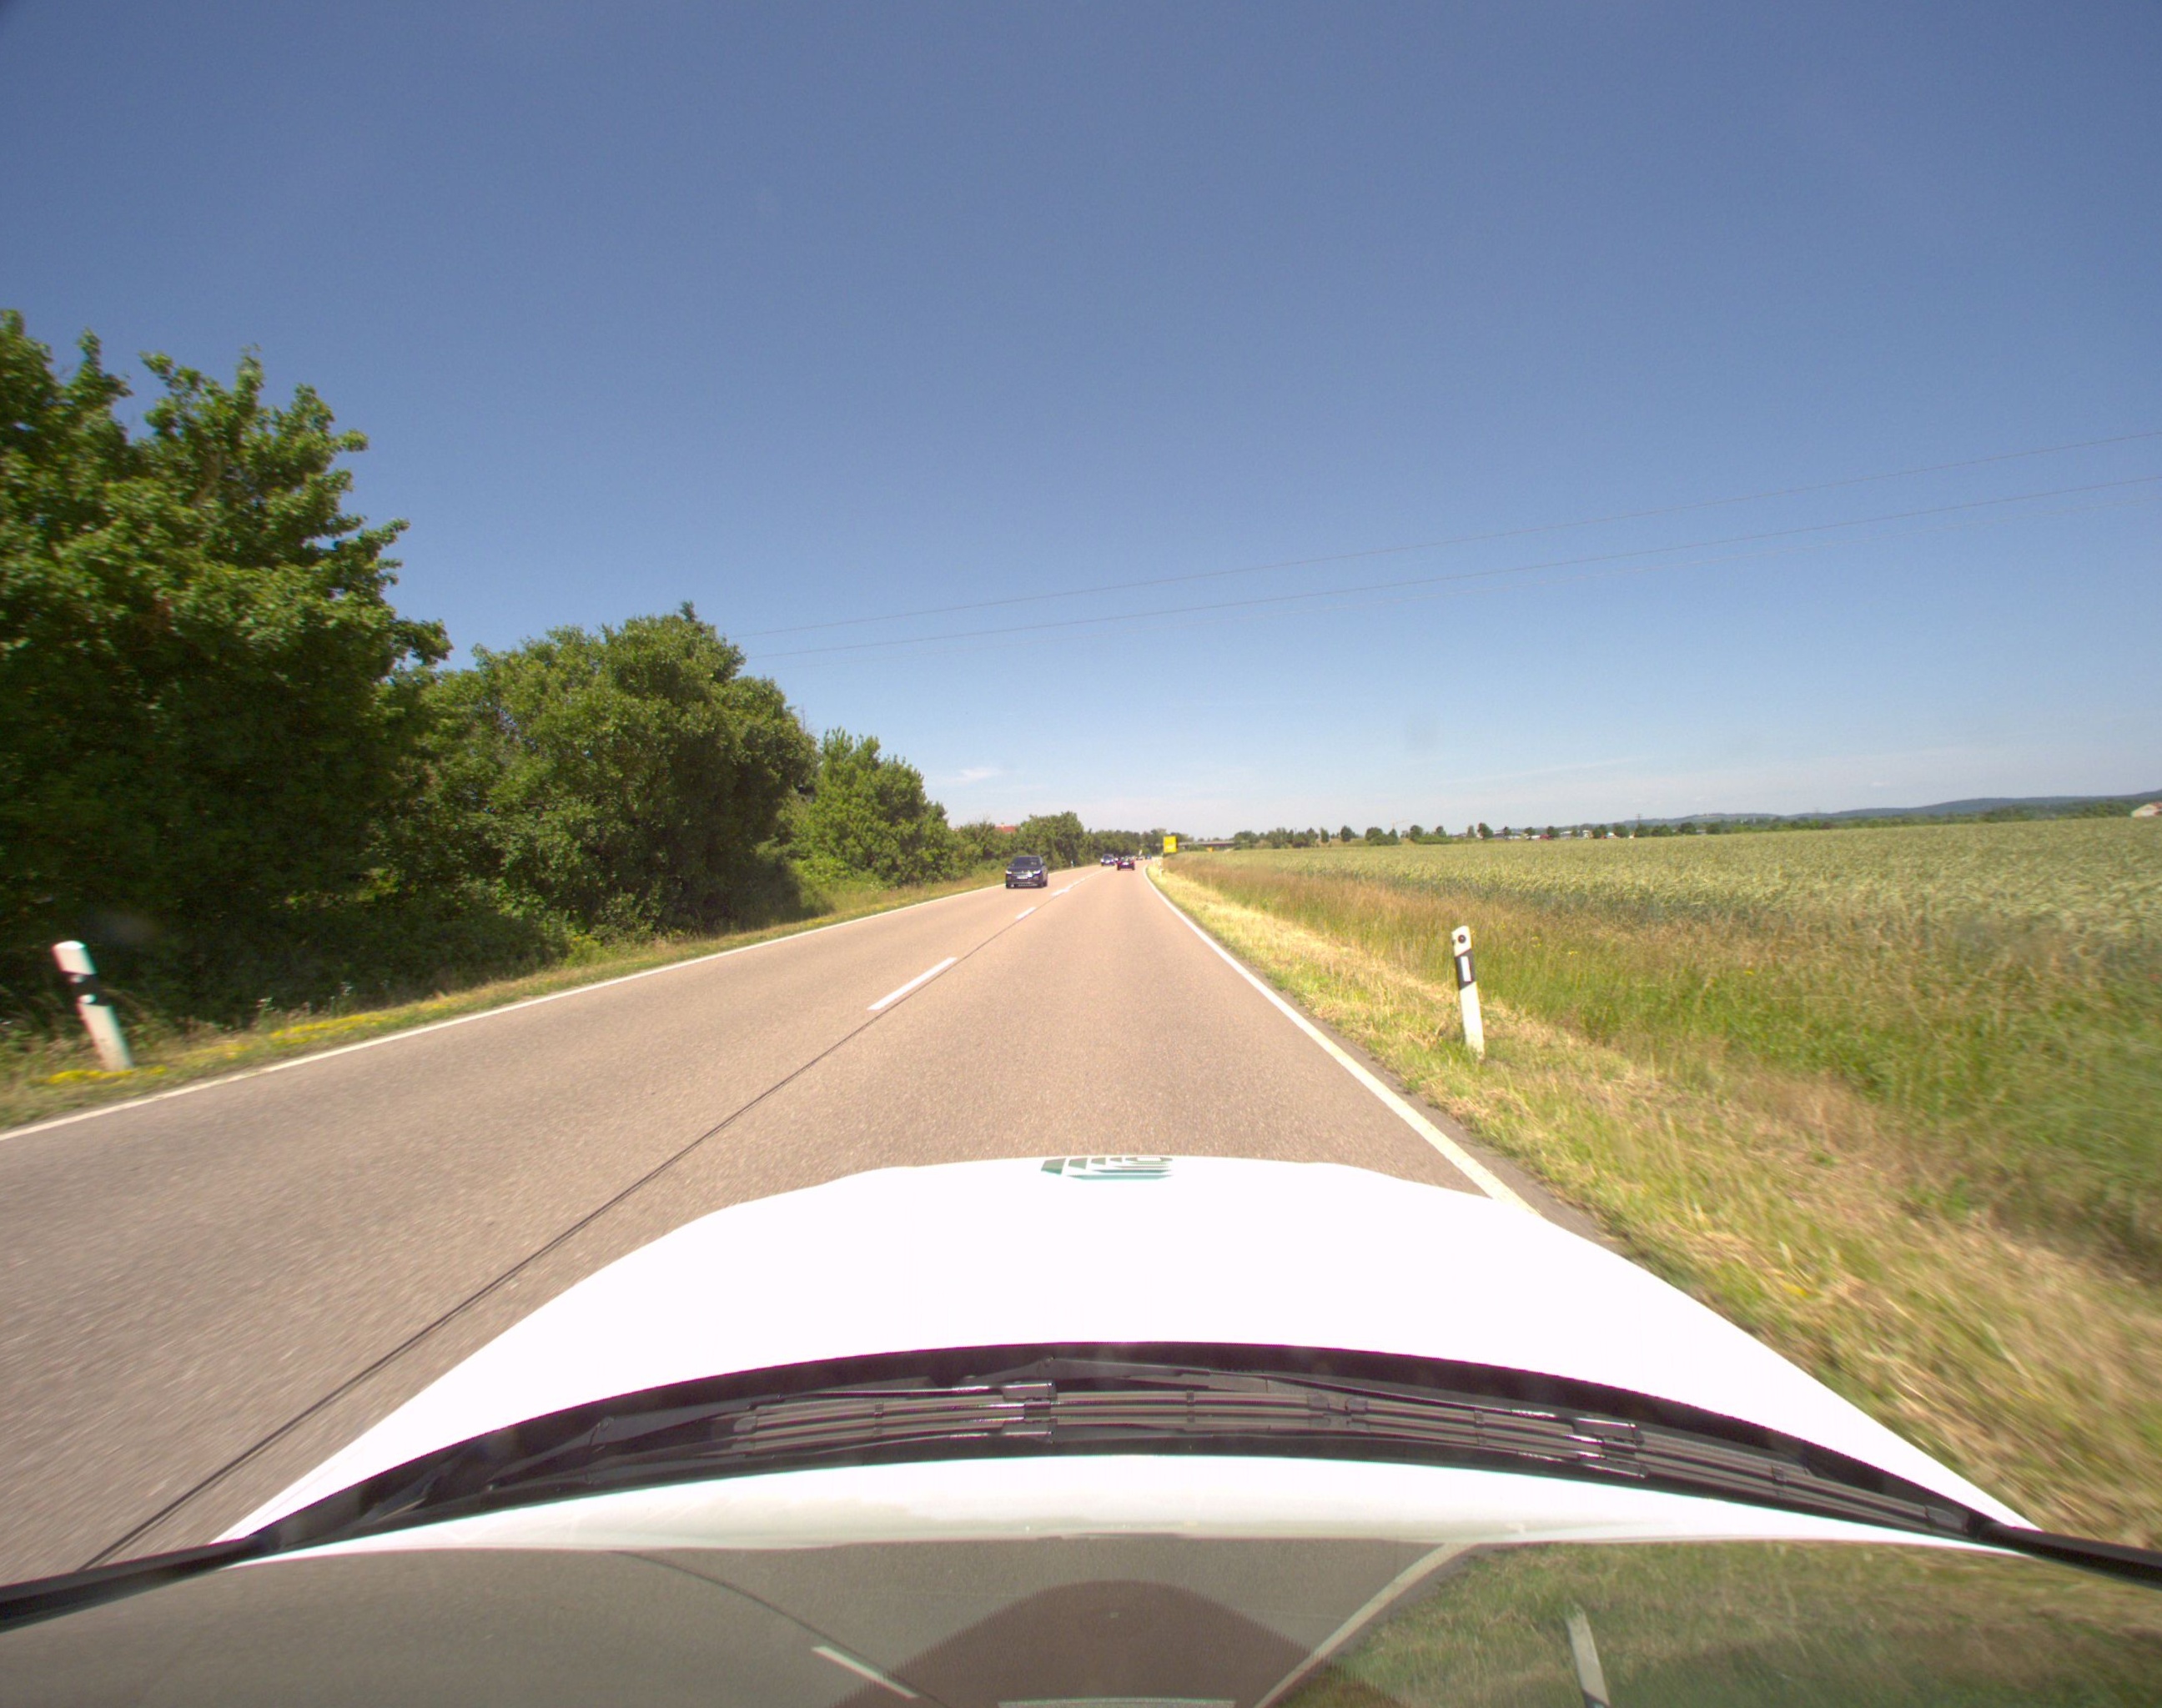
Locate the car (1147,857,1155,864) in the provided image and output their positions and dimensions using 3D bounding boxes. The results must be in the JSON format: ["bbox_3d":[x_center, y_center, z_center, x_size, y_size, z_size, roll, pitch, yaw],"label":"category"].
[{"bbox_3d":[20.301,1.931,235.505,1.983,2.014,4.007,0,0,7],"label":"car"}]

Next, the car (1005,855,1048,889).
[{"bbox_3d":[-2.619,0.838,39.839,1.692,1.566,3.673,-1,0,2],"label":"car"}]

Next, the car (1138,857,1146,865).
[{"bbox_3d":[16.149,1.833,214.780,1.983,2.014,4.007,0,0,6],"label":"car"}]

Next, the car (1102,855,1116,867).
[{"bbox_3d":[4.051,1.023,118.263,1.810,1.701,5.007,-1,0,4],"label":"car"}]

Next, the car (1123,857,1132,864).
[{"bbox_3d":[10.024,1.380,175.559,1.699,1.381,3.824,-1,0,5],"label":"car"}]

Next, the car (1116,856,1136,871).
[{"bbox_3d":[4.529,0.917,81.989,1.805,1.441,4.007,0,0,6],"label":"car"}]

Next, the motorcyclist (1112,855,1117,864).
[{"bbox_3d":[5.676,0.964,136.916,0.831,1.474,1.818,-1,0,2],"label":"motorcyclist"}]
